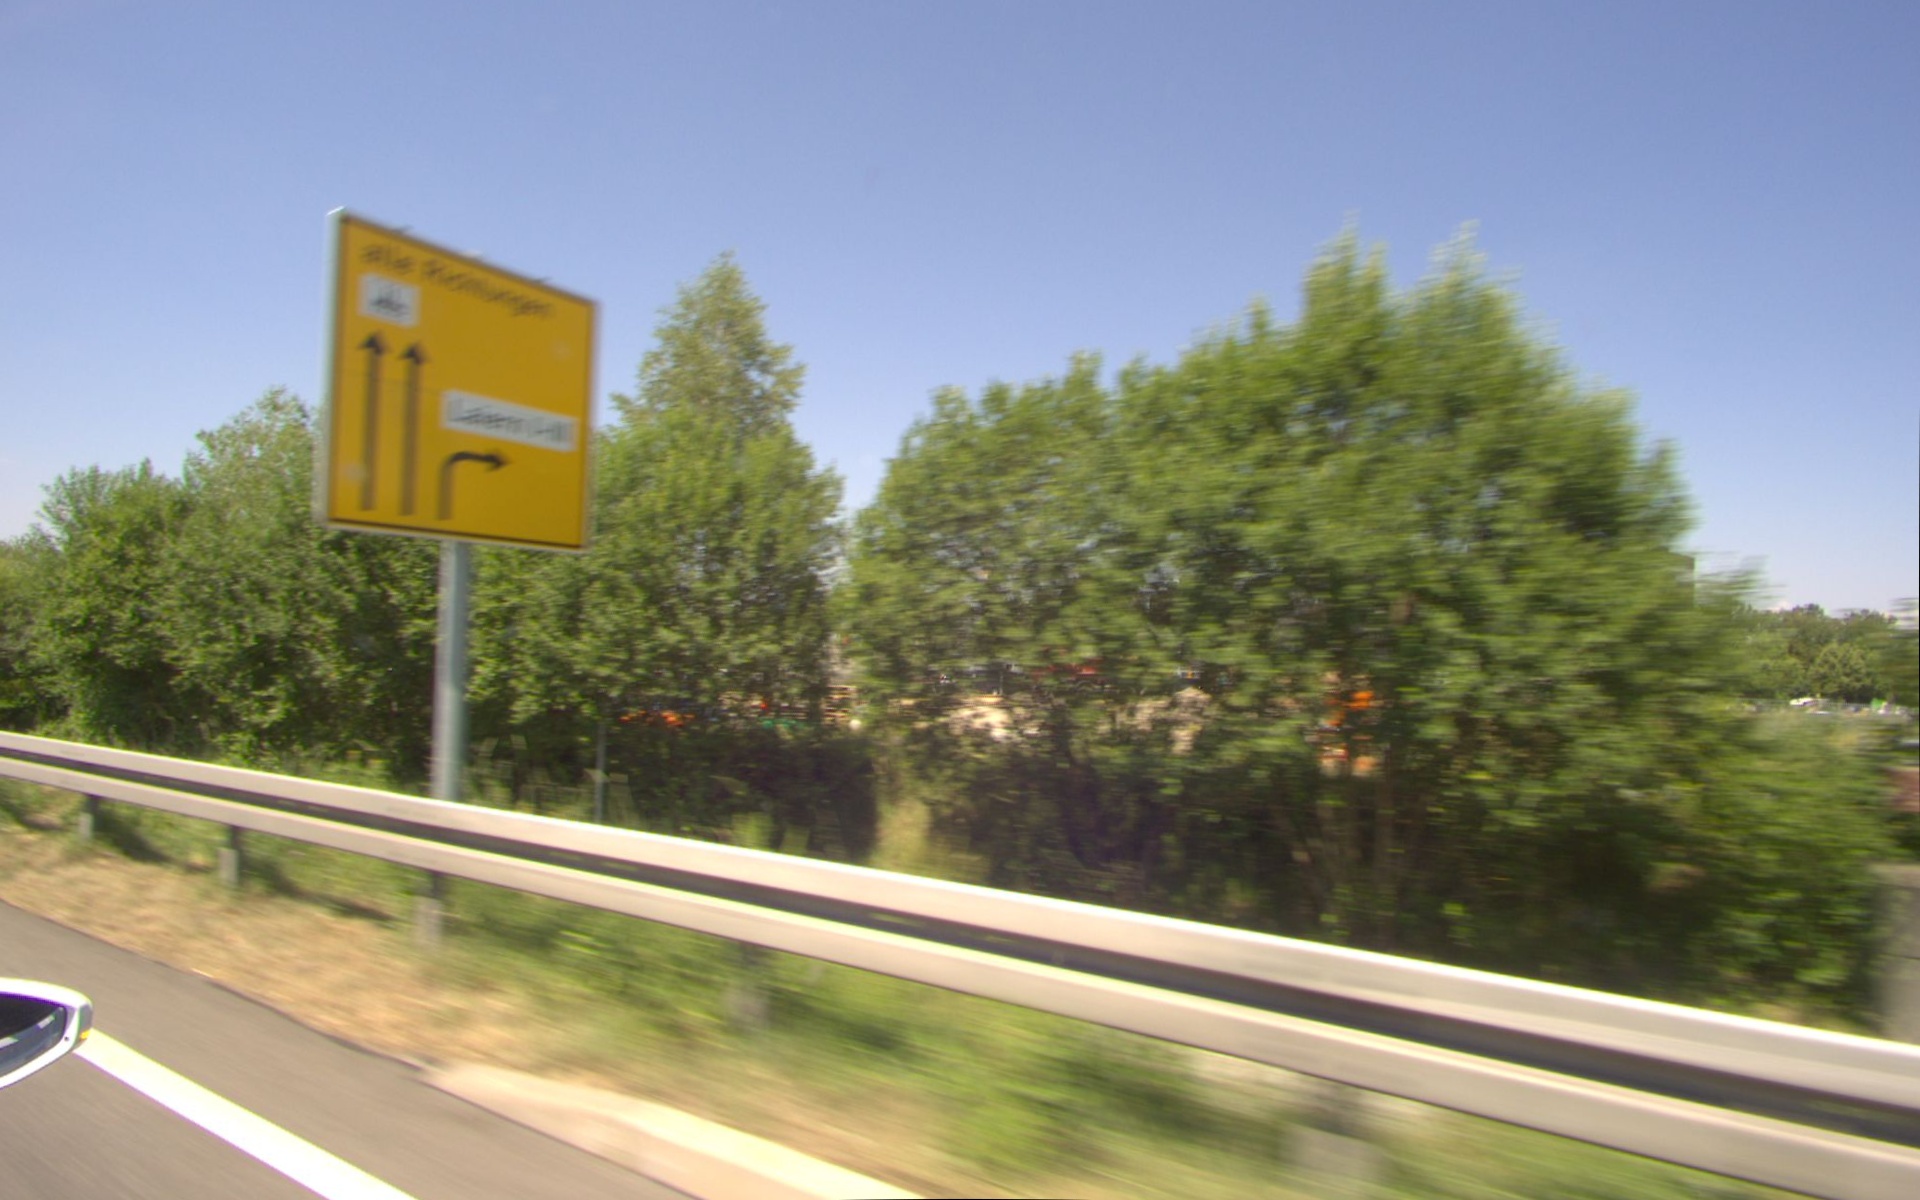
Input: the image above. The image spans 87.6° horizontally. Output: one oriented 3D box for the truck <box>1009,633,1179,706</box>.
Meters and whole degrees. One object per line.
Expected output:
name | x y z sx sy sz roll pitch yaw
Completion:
truck | 7.838 4.073 58.530 9.255 3.731 3.126 4 -2 -16
